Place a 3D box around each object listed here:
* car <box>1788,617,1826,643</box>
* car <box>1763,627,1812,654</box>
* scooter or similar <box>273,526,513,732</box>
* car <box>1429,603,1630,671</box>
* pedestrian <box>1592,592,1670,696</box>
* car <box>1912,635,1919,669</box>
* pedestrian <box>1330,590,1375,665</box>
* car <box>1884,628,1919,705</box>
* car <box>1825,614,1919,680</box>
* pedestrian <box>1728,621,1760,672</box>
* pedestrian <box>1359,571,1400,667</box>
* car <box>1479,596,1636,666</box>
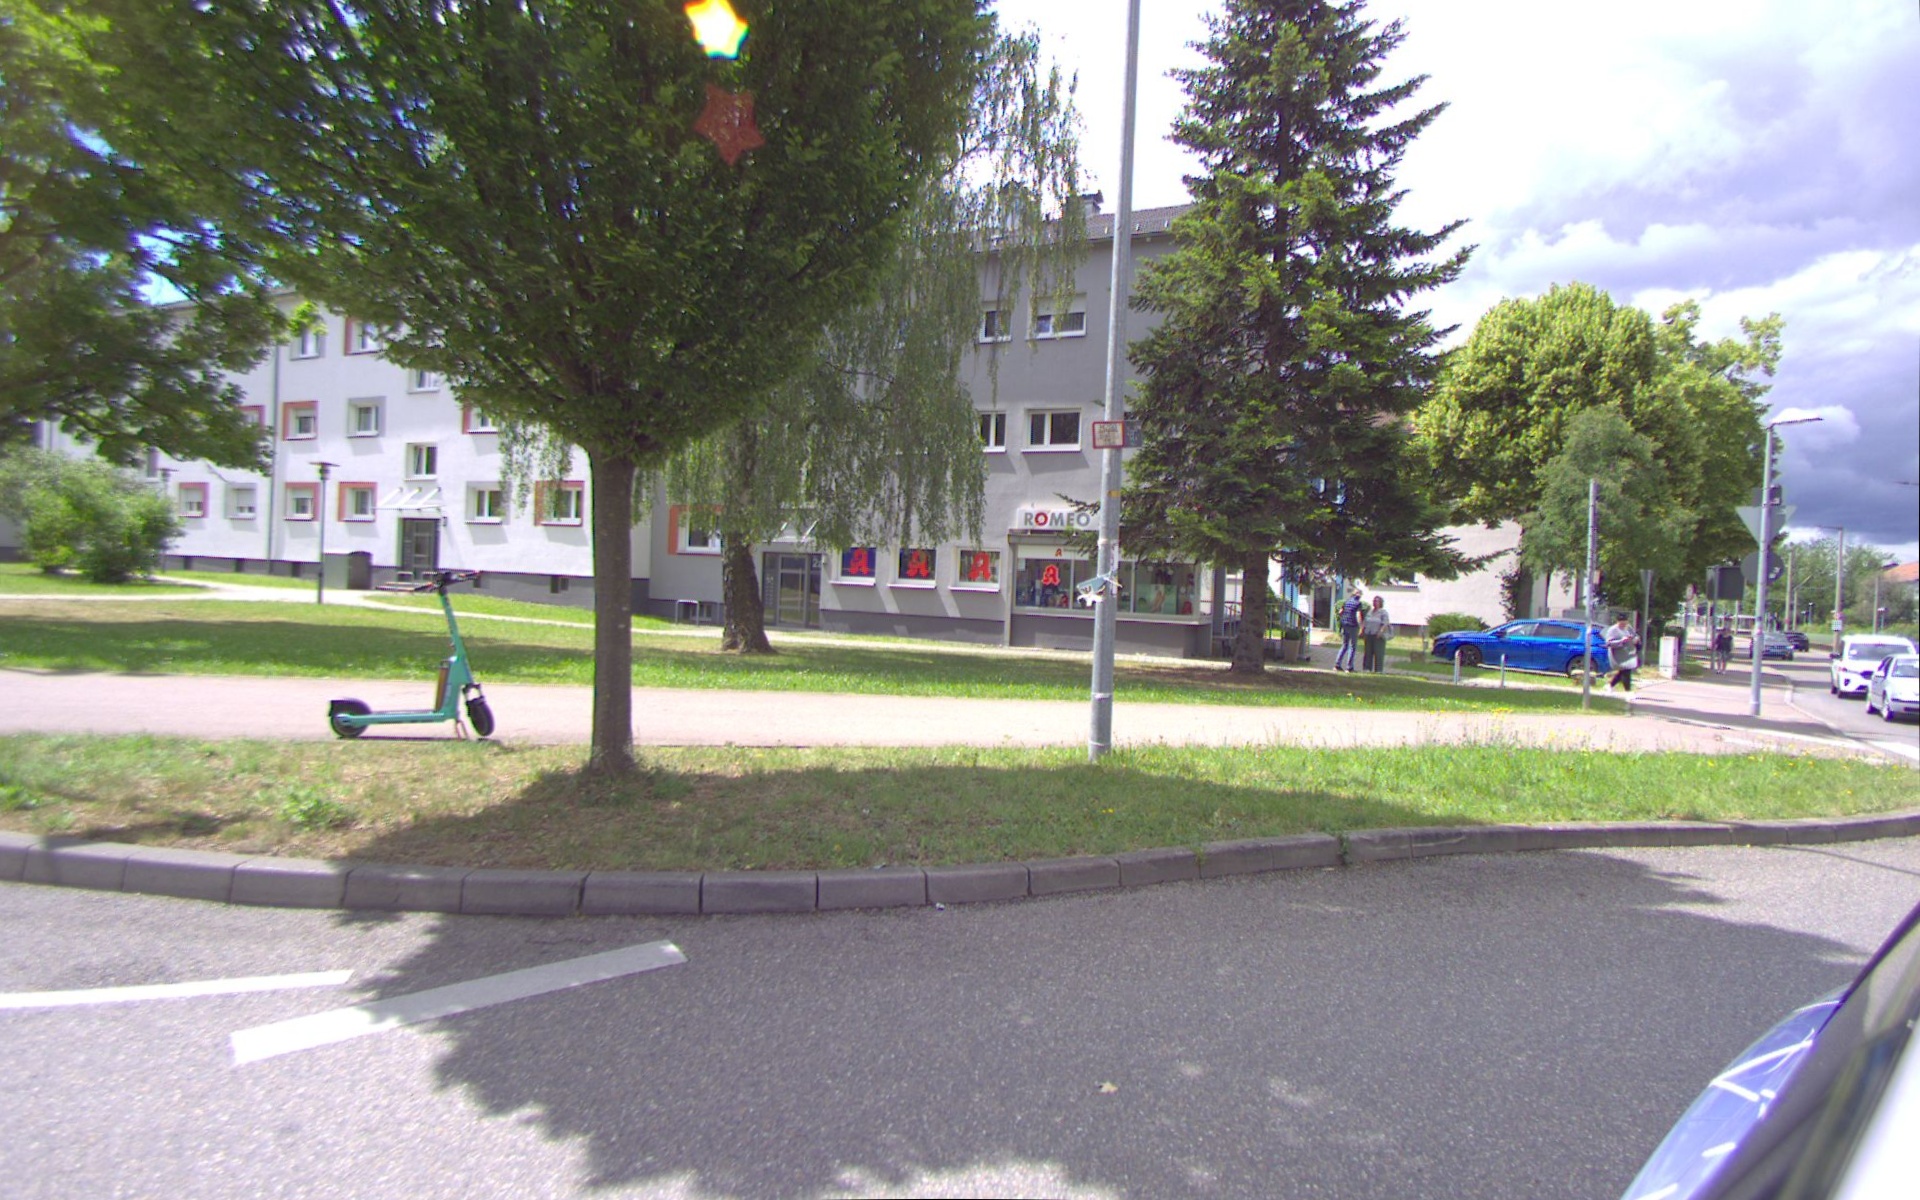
[{"bbox_3d":[65.819,2.332,78.714,1.991,1.543,4.463,7,6,38],"label":"car"},{"bbox_3d":[47.380,2.284,57.912,1.913,1.333,3.939,5,2,42],"label":"car"},{"bbox_3d":[-4.021,0.206,7.260,1.359,1.359,0.487,4,1,-14],"label":"scooter or similar"},{"bbox_3d":[15.122,0.935,27.206,4.454,1.258,1.982,7,3,26],"label":"car"},{"bbox_3d":[13.413,0.853,20.256,0.927,1.980,0.840,3,1,9],"label":"pedestrian"},{"bbox_3d":[42.778,2.318,43.989,1.817,1.400,4.547,4,2,42],"label":"car"},{"bbox_3d":[8.562,0.583,22.058,0.738,1.548,0.684,4,1,29],"label":"pedestrian"},{"bbox_3d":[20.282,1.376,20.670,1.757,1.415,3.943,5,2,39],"label":"car"},{"bbox_3d":[26.201,1.288,28.596,1.986,1.627,3.954,4,2,32],"label":"car"},{"bbox_3d":[27.588,1.626,35.616,0.678,1.680,0.823,4,2,29],"label":"pedestrian"},{"bbox_3d":[9.232,0.399,22.244,0.649,2.038,1.037,4,1,26],"label":"pedestrian"},{"bbox_3d":[17.372,0.863,29.664,3.708,1.575,2.012,6,2,27],"label":"car"}]
